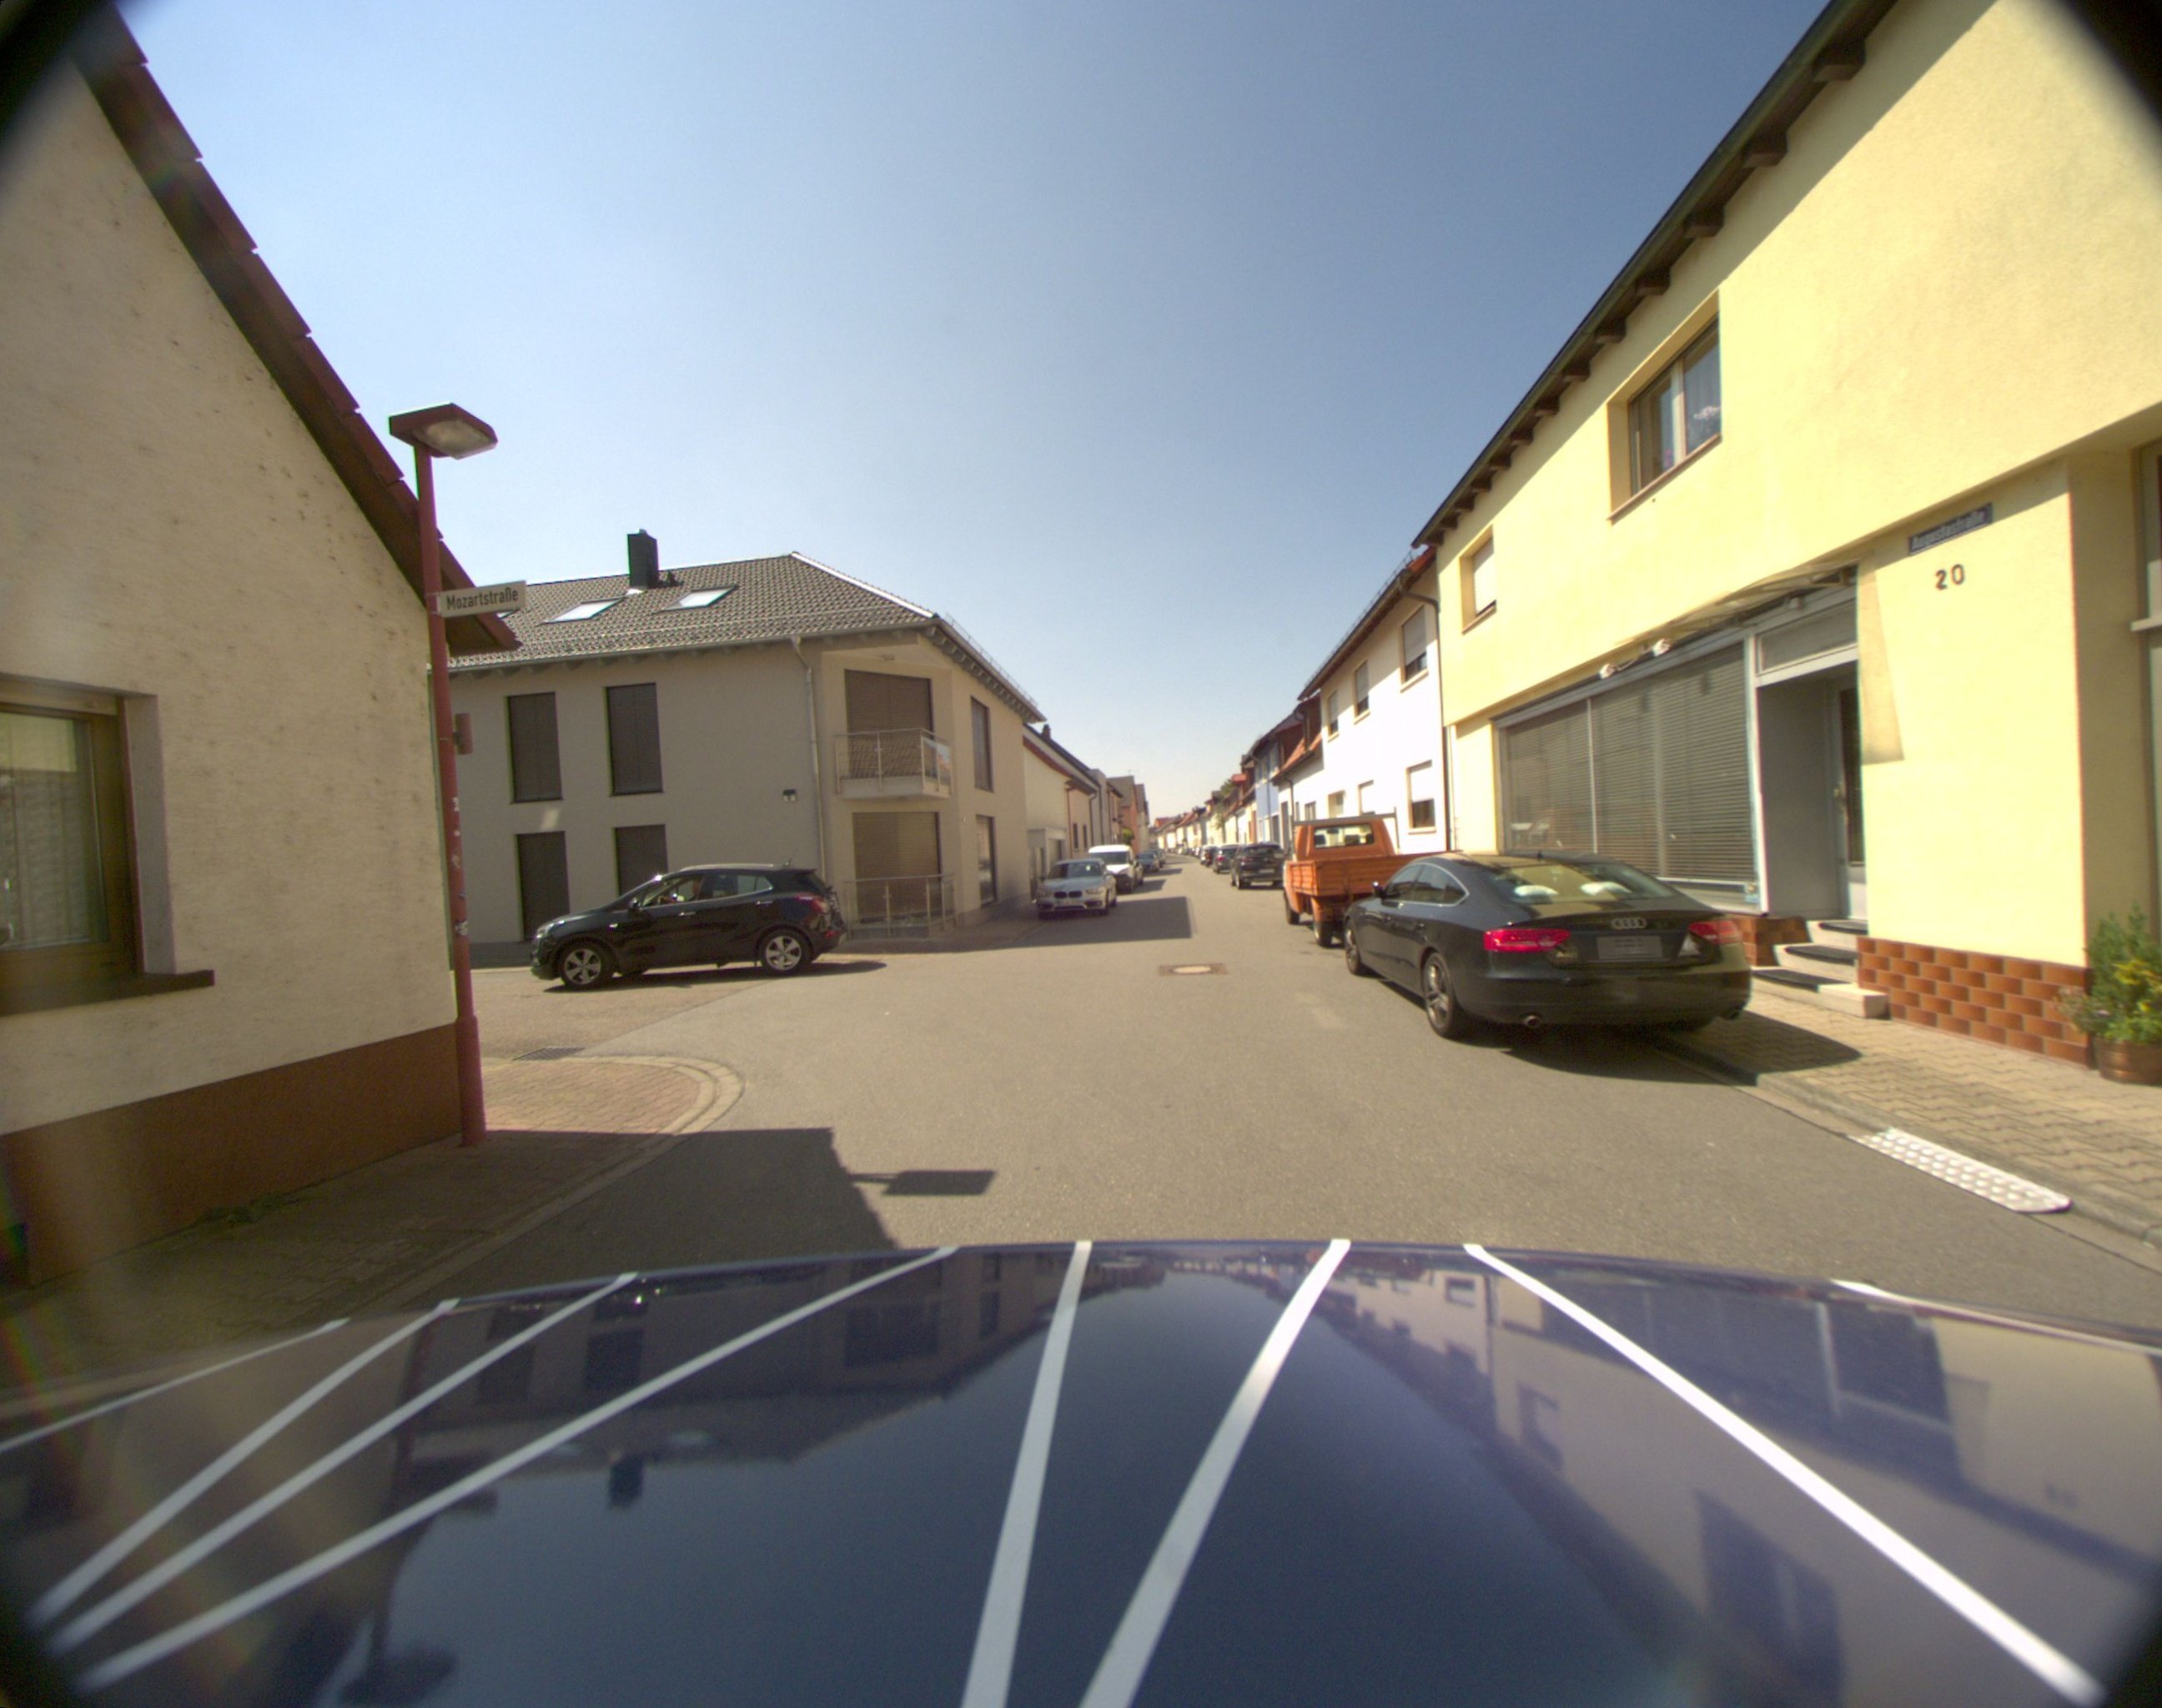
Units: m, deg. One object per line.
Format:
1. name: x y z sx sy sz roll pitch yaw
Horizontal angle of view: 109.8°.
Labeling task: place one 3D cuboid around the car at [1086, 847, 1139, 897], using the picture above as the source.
1. car: 1.271 0.627 28.913 1.683 1.719 3.788 -3 0 6

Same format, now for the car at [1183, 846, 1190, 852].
1. car: 20.325 -1.003 146.280 1.294 1.177 2.965 -3 0 8

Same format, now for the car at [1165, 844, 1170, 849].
1. car: 24.425 -2.078 214.351 1.294 1.177 2.965 -3 0 8

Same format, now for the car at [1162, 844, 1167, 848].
1. car: 24.633 -2.256 224.239 1.295 1.177 2.963 -3 0 0

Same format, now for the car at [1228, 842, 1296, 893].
1. car: 6.427 0.439 27.387 1.848 1.605 4.001 -3 0 6

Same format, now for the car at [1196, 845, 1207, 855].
1. car: 15.465 -0.485 97.313 1.294 1.177 2.965 -3 0 8

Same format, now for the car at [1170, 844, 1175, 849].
1. car: 24.470 -1.958 202.817 1.294 1.177 2.965 -3 0 8

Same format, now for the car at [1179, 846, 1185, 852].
1. car: 21.730 -1.148 163.112 1.294 1.177 2.965 -3 0 8

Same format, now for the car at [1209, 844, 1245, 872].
1. car: 8.541 0.189 44.640 1.723 1.493 4.217 -3 0 7

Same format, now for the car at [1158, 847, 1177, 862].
1. car: 9.050 0.047 79.819 1.848 1.523 3.550 -3 0 6

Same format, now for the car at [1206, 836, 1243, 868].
1. car: 9.922 -0.152 52.680 1.998 2.002 4.000 -3 2 4

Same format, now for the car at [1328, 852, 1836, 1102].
1. car: 3.707 0.721 6.855 1.926 1.386 4.633 0 1 6

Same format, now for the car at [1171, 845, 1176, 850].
1. car: 23.642 -1.774 194.399 1.294 1.177 2.965 -3 0 8

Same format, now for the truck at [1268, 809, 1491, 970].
1. truck: 4.481 0.421 12.386 2.186 2.002 5.082 -3 1 8

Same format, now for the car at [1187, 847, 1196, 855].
1. car: 17.978 -0.485 123.783 1.294 1.177 2.965 -3 0 8

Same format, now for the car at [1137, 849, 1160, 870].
1. car: 4.979 0.395 55.863 1.521 1.417 3.865 -3 0 6

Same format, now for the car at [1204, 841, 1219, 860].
1. car: 12.988 -0.392 75.804 1.294 1.820 2.965 -3 0 8

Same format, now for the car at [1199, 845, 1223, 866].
1. car: 10.404 0.128 61.186 1.676 1.565 4.110 -3 0 7

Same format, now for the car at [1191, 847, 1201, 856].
1. car: 16.444 -0.338 108.570 1.294 1.177 2.965 -3 0 8

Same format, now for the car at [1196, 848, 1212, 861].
1. car: 11.034 0.026 68.161 1.294 1.070 2.766 -3 0 8

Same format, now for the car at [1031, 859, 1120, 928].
1. car: -0.023 0.929 19.375 1.637 1.360 3.929 -5 1 7

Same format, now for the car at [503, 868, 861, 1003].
1. car: -5.570 1.097 11.176 4.281 1.573 1.761 -2 -1 -11
